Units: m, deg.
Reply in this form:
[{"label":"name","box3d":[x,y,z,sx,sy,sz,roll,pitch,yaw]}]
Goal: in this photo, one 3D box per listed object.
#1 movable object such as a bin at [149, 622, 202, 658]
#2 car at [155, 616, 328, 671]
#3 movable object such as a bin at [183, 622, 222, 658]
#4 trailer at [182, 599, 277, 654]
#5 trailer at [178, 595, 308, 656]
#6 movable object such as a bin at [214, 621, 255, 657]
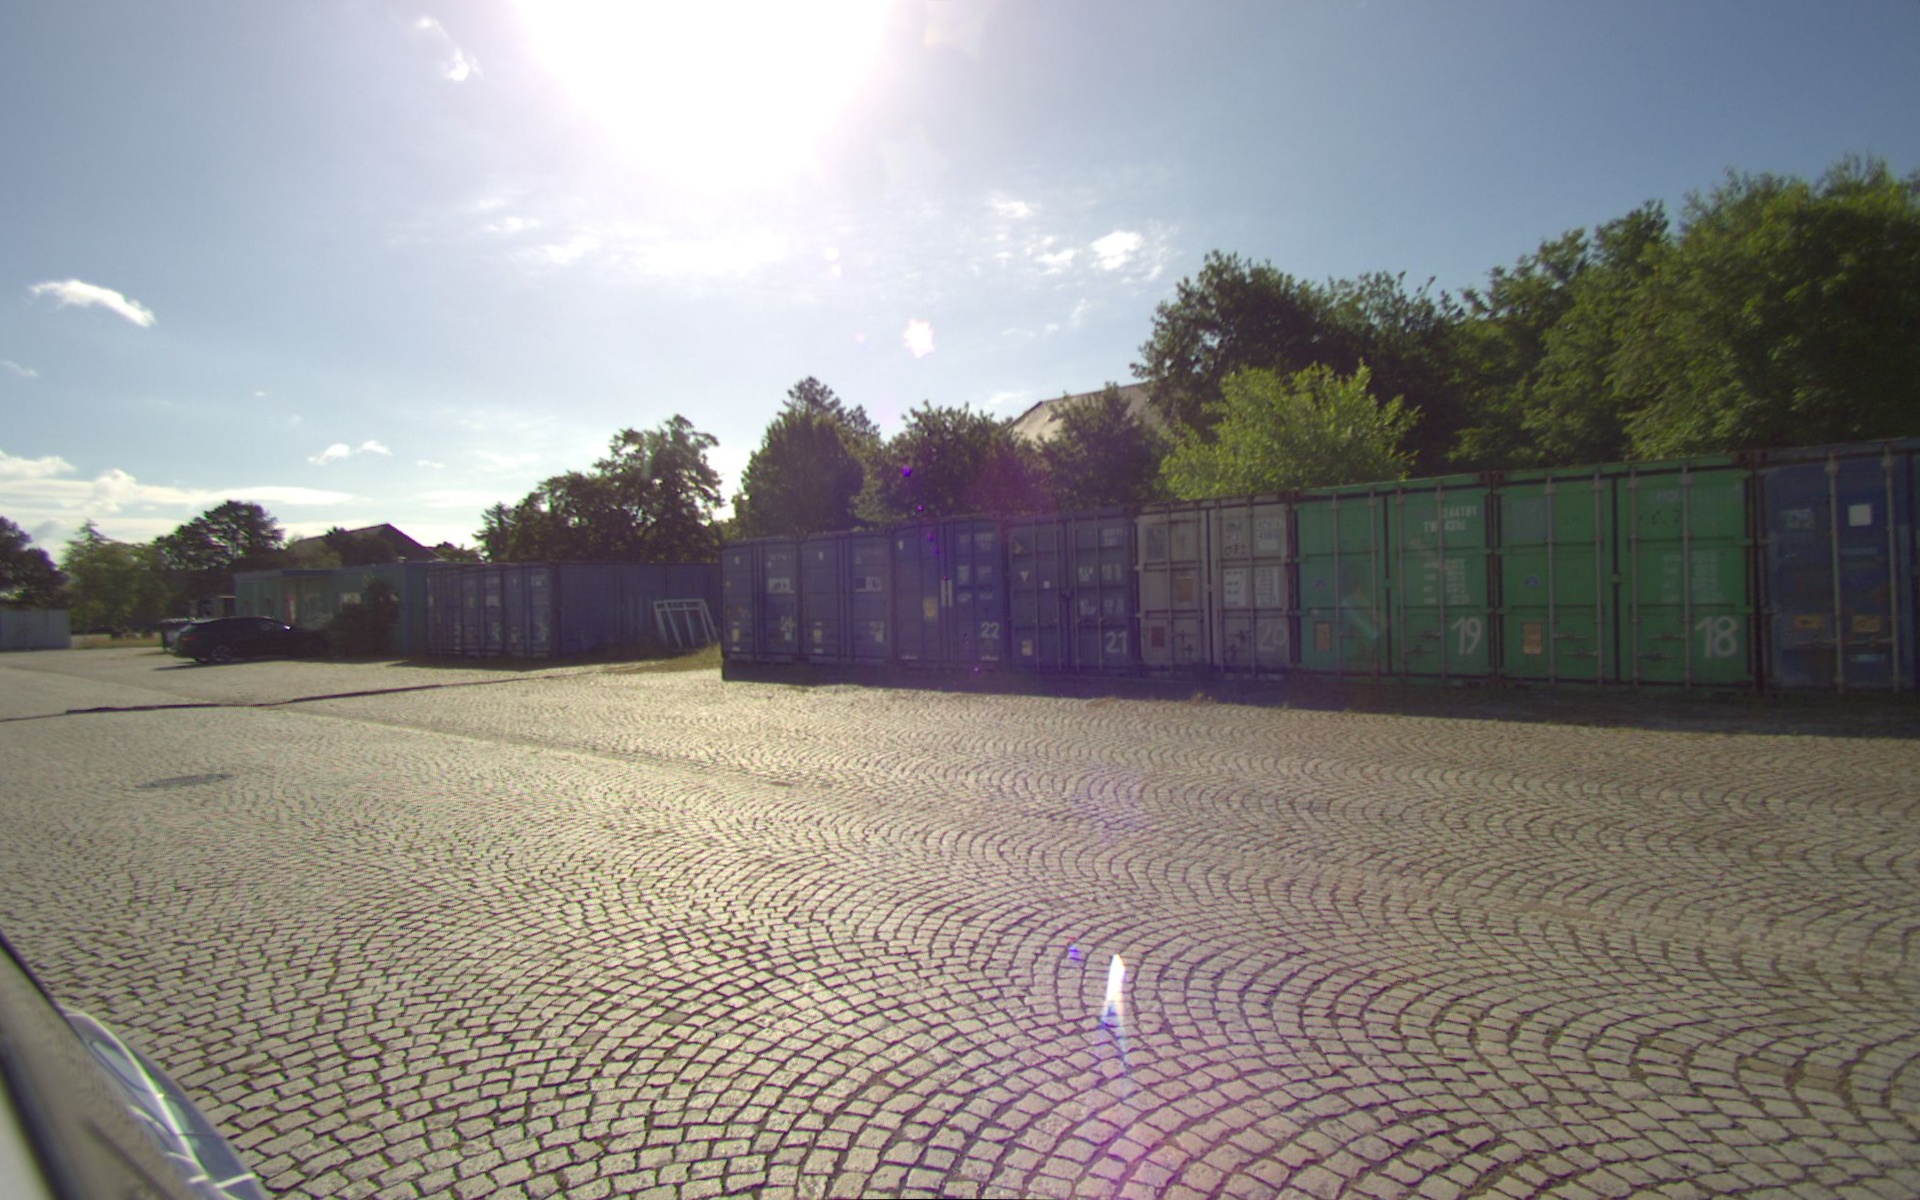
[{"label":"movable object such as a bin","box3d":[-34.730,1.774,44.838,1.416,1.469,1.158,-2,1,-7]},{"label":"car","box3d":[-23.316,1.357,32.963,1.929,1.460,4.211,-1,1,38]},{"label":"movable object such as a bin","box3d":[-32.812,1.720,43.847,1.439,1.469,1.008,-1,1,40]},{"label":"trailer","box3d":[-35.633,1.261,49.407,2.043,2.488,3.350,-1,1,41]},{"label":"trailer","box3d":[-33.788,1.172,47.799,1.948,2.587,4.595,-1,1,36]},{"label":"movable object such as a bin","box3d":[-31.061,1.665,43.331,1.434,1.469,0.876,-2,1,30]}]
